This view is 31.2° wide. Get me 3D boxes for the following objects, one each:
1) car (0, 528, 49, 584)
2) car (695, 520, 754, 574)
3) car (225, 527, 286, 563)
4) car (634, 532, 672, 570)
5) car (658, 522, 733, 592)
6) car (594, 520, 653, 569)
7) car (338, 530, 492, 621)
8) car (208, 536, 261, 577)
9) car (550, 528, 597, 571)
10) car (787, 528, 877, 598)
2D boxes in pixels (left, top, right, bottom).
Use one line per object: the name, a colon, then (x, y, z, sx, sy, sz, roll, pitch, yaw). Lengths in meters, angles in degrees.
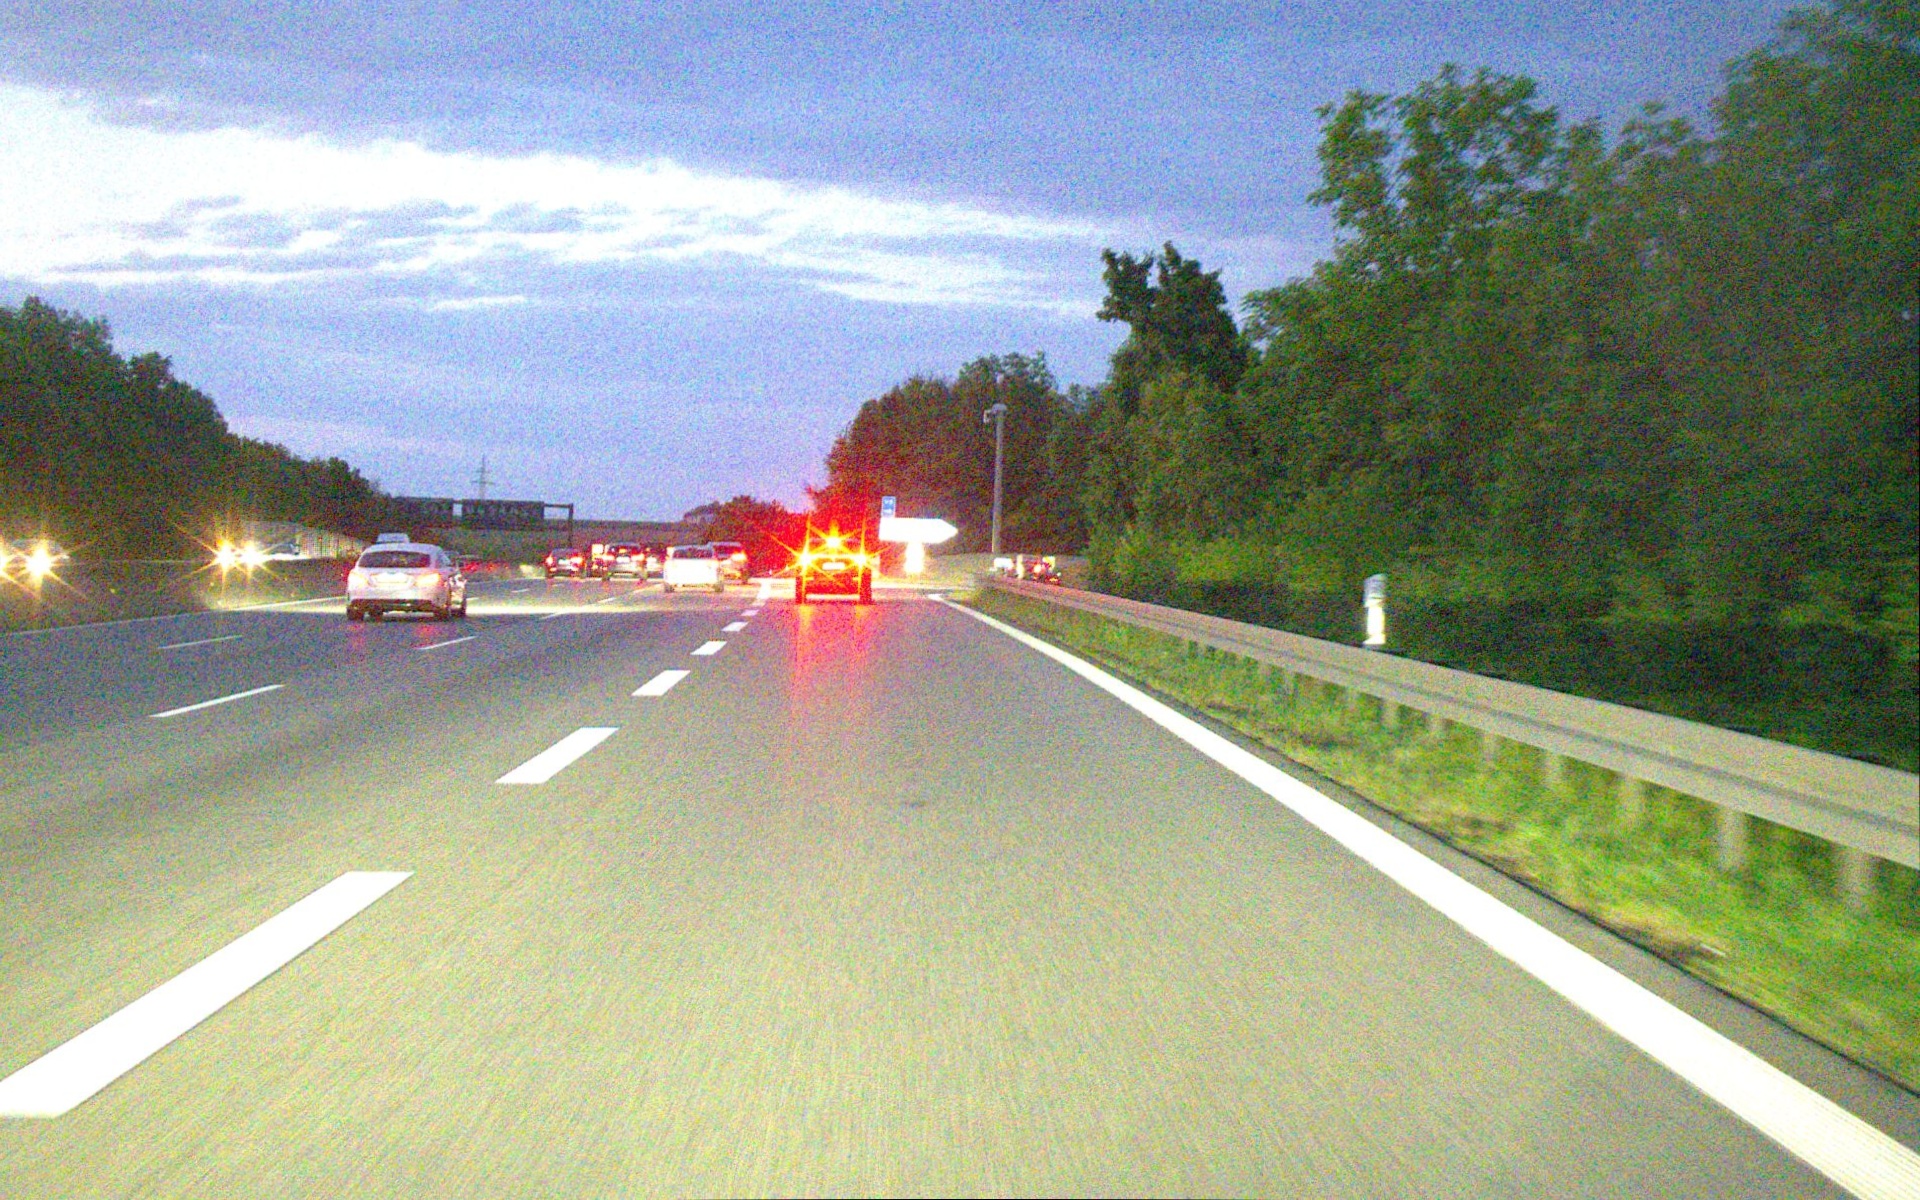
car: (-28.422, -1.315, 101.349, 1.993, 1.604, 4.559, 0, 1, -1)
car: (-8.894, -1.993, 129.914, 1.993, 2.007, 4.000, 0, 1, -1)
car: (-31.341, -2.444, 152.981, 1.993, 1.541, 4.000, 0, 1, -2)
car: (-16.670, -2.643, 186.596, 1.993, 2.007, 4.001, 0, 1, -7)
car: (-7.811, -1.286, 101.777, 1.993, 2.007, 4.000, 1, 1, -1)
car: (-13.971, -2.320, 142.918, 2.071, 2.007, 4.000, 0, 1, 0)
car: (-10.137, -0.476, 64.269, 1.993, 1.637, 4.554, 0, 1, 2)
car: (-36.029, -2.191, 170.916, 2.027, 2.007, 4.239, 0, 1, -4)
car: (-18.540, -2.407, 164.932, 2.104, 2.007, 4.001, -1, 1, -5)
car: (-3.189, -0.934, 84.727, 1.993, 1.653, 4.316, 0, 1, -5)
